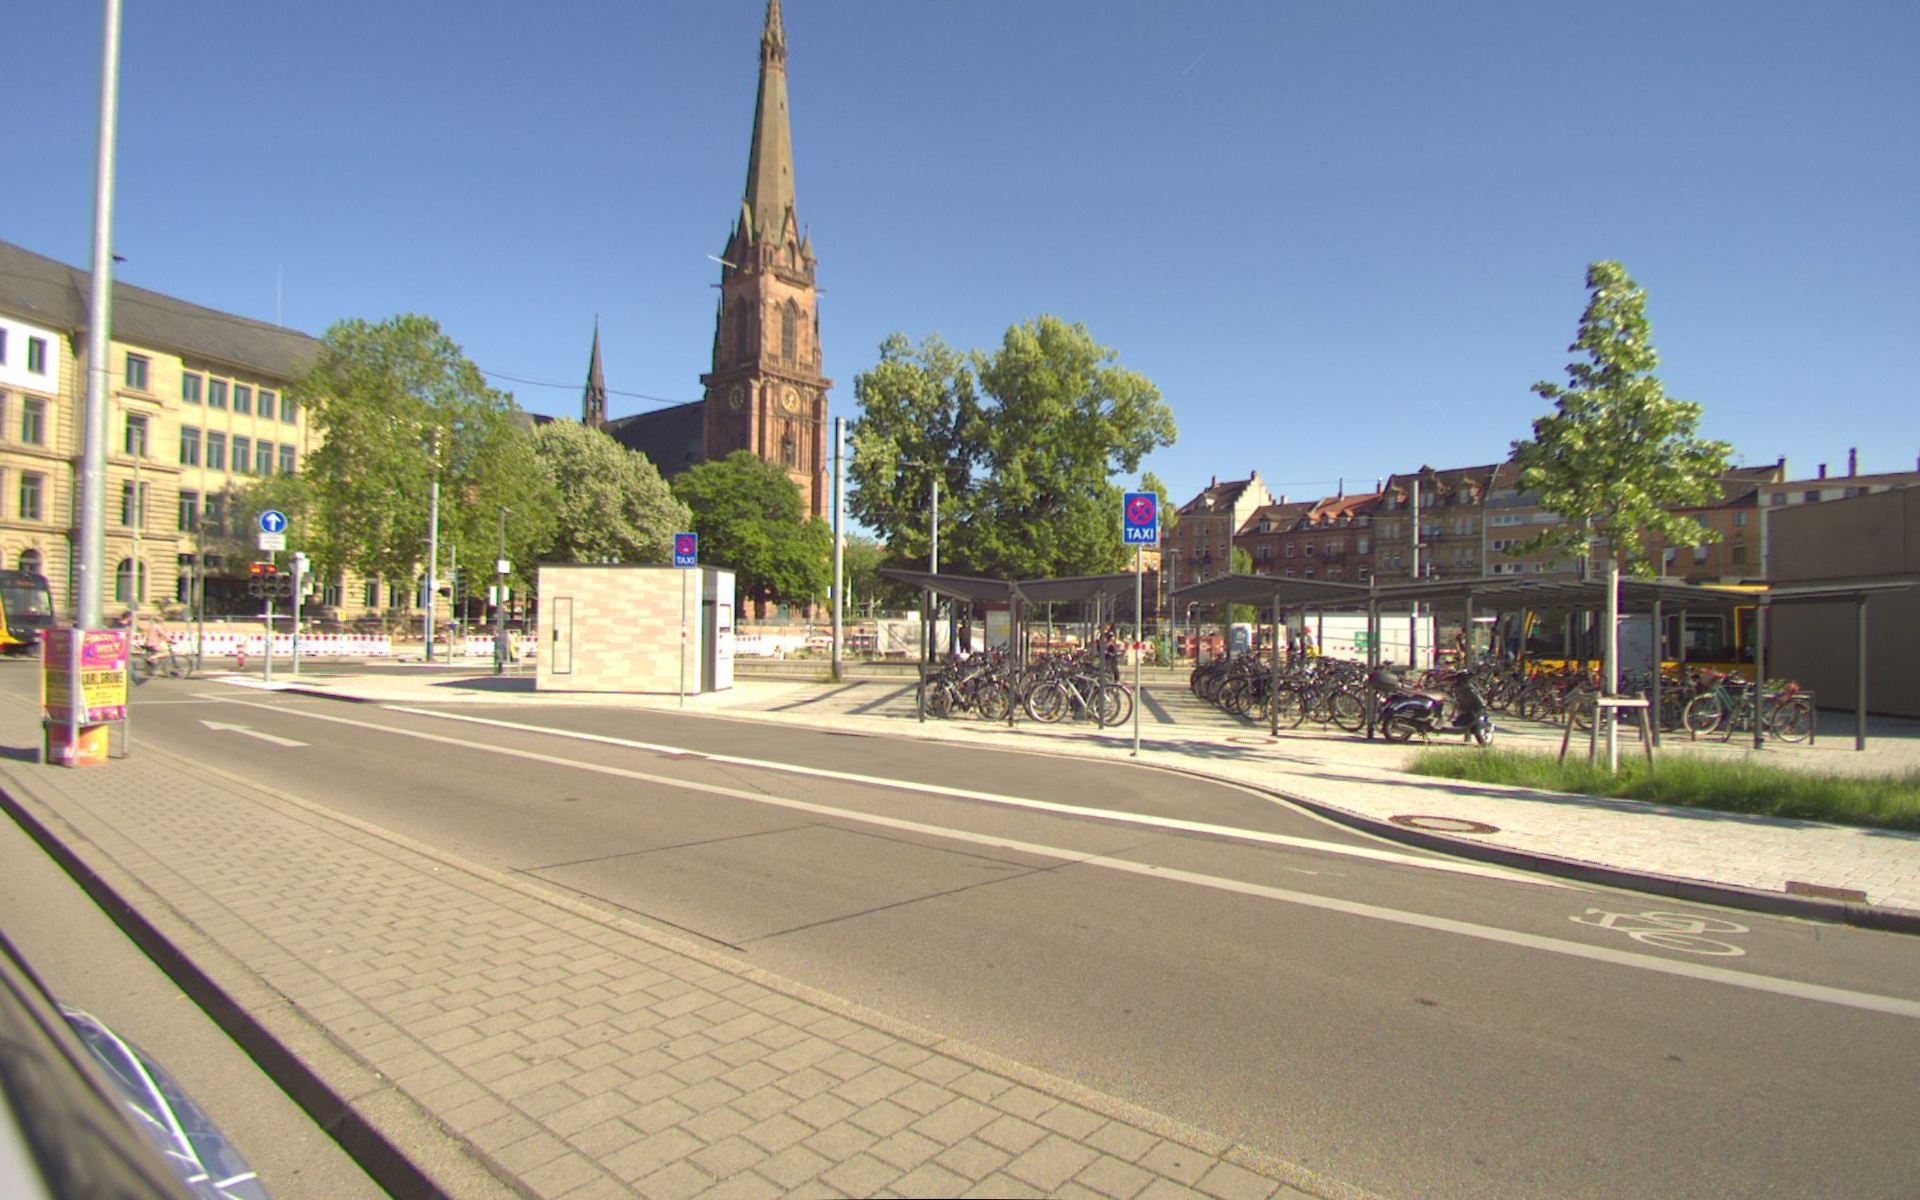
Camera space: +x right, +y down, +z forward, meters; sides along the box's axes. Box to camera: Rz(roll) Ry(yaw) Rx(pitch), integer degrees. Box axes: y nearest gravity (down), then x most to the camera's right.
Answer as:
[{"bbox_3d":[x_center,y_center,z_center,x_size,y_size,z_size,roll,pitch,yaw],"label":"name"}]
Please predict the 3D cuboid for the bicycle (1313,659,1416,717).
[{"bbox_3d":[8.076,1.753,20.261,1.808,1.088,0.627,0,-2,7],"label":"bicycle"}]

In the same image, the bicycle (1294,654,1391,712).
[{"bbox_3d":[8.113,1.752,21.527,1.808,1.170,0.627,0,-2,7],"label":"bicycle"}]

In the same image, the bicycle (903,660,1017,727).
[{"bbox_3d":[0.008,1.589,17.369,1.847,1.015,0.699,2,-2,9],"label":"bicycle"}]

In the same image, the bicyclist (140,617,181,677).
[{"bbox_3d":[-22.071,1.291,27.932,0.722,1.618,0.767,-1,-1,42],"label":"bicyclist"}]

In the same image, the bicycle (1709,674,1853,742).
[{"bbox_3d":[13.022,1.701,16.076,1.803,1.015,0.629,1,-2,-3],"label":"bicycle"}]

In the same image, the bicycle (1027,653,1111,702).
[{"bbox_3d":[2.380,1.693,22.123,1.808,1.015,0.627,0,-2,7],"label":"bicycle"}]

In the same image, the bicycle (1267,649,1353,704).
[{"bbox_3d":[8.238,1.791,23.875,1.808,1.242,0.627,0,-2,7],"label":"bicycle"}]

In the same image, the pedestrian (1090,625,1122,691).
[{"bbox_3d":[3.782,1.494,26.294,0.762,1.672,0.604,0,-2,4],"label":"pedestrian"}]

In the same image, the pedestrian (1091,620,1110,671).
[{"bbox_3d":[5.141,1.661,37.032,0.673,1.869,0.604,0,-2,6],"label":"pedestrian"}]

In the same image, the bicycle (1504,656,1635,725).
[{"bbox_3d":[11.299,1.676,18.801,2.029,1.218,0.505,0,-2,8],"label":"bicycle"}]

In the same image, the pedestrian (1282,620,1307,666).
[{"bbox_3d":[14.928,1.932,45.192,0.861,2.029,0.749,0,-2,5],"label":"pedestrian"}]

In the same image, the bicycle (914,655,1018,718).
[{"bbox_3d":[0.118,1.544,18.237,1.809,1.074,0.627,0,-2,9],"label":"bicycle"}]

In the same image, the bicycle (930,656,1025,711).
[{"bbox_3d":[0.363,1.641,19.985,1.809,1.015,0.627,0,-2,9],"label":"bicycle"}]

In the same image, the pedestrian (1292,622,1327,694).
[{"bbox_3d":[9.263,1.528,26.830,0.595,1.869,0.683,2,-2,-38],"label":"pedestrian"}]

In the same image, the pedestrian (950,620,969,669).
[{"bbox_3d":[-0.016,1.707,39.115,0.673,1.869,0.604,0,-2,5],"label":"pedestrian"}]

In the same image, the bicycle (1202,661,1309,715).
[{"bbox_3d":[5.951,1.767,20.431,1.978,1.015,0.628,0,-2,4],"label":"bicycle"}]

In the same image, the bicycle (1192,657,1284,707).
[{"bbox_3d":[5.972,1.763,21.805,1.805,1.015,0.629,0,-2,0],"label":"bicycle"}]

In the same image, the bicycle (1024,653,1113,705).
[{"bbox_3d":[2.231,1.615,20.848,1.808,1.015,0.627,0,-2,7],"label":"bicycle"}]

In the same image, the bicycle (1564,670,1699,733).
[{"bbox_3d":[11.605,1.748,17.524,1.872,1.004,0.499,0,-2,13],"label":"bicycle"}]

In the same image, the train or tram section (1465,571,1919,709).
[{"bbox_3d":[21.265,1.070,28.634,12.179,3.628,2.748,0,-2,7],"label":"train or tram section"}]

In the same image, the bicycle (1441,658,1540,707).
[{"bbox_3d":[11.692,1.811,22.330,1.809,1.015,0.627,0,-2,9],"label":"bicycle"}]

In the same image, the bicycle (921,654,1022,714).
[{"bbox_3d":[0.215,1.550,18.765,1.809,1.059,0.571,0,-2,9],"label":"bicycle"}]

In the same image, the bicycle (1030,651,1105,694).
[{"bbox_3d":[2.635,1.764,24.809,1.808,1.015,0.627,0,-2,7],"label":"bicycle"}]

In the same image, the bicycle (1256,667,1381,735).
[{"bbox_3d":[5.979,1.682,16.978,1.871,1.050,0.688,0,-2,9],"label":"bicycle"}]

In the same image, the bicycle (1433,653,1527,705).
[{"bbox_3d":[12.003,1.820,23.402,1.809,1.140,0.627,0,-2,9],"label":"bicycle"}]

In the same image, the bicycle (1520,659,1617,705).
[{"bbox_3d":[14.055,1.887,23.405,1.808,1.015,0.627,0,-2,7],"label":"bicycle"}]

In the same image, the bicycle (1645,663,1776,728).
[{"bbox_3d":[13.592,1.722,18.358,1.808,1.101,0.627,0,-2,7],"label":"bicycle"}]

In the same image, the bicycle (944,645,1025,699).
[{"bbox_3d":[0.564,1.653,23.415,1.809,1.188,0.627,0,-2,9],"label":"bicycle"}]

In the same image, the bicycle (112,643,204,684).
[{"bbox_3d":[-22.092,1.751,27.896,0.725,1.078,1.858,-1,-3,42],"label":"bicycle"}]

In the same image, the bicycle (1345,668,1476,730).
[{"bbox_3d":[7.921,1.736,17.876,2.003,1.015,0.627,0,-2,7],"label":"bicycle"}]

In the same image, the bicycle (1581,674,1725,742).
[{"bbox_3d":[11.161,1.728,16.348,1.809,1.015,0.627,0,-2,9],"label":"bicycle"}]

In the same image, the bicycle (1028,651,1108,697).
[{"bbox_3d":[2.513,1.709,23.609,1.808,1.015,0.627,0,-2,7],"label":"bicycle"}]

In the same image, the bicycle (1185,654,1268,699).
[{"bbox_3d":[6.254,1.792,23.798,1.808,1.015,0.627,0,-2,6],"label":"bicycle"}]

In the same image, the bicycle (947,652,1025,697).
[{"bbox_3d":[0.622,1.756,24.114,1.809,1.015,0.627,0,-2,9],"label":"bicycle"}]

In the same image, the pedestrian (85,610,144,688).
[{"bbox_3d":[-20.537,1.190,24.588,0.732,1.864,0.947,-2,-4,45],"label":"pedestrian"}]

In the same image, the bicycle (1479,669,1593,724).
[{"bbox_3d":[11.264,1.879,19.840,1.809,1.015,0.627,0,-2,9],"label":"bicycle"}]

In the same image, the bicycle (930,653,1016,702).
[{"bbox_3d":[0.292,1.697,22.171,1.809,1.015,0.627,0,-2,9],"label":"bicycle"}]

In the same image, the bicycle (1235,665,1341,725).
[{"bbox_3d":[5.855,1.691,18.132,1.731,1.015,0.547,0,-2,10],"label":"bicycle"}]

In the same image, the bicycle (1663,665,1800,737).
[{"bbox_3d":[12.993,1.694,17.063,1.805,1.155,0.629,0,-2,0],"label":"bicycle"}]

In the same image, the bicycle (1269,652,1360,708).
[{"bbox_3d":[7.931,1.773,22.678,1.808,1.198,0.647,0,-2,7],"label":"bicycle"}]

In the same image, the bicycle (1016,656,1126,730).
[{"bbox_3d":[1.867,1.562,17.133,1.808,1.167,0.627,1,-2,7],"label":"bicycle"}]

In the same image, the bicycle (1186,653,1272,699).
[{"bbox_3d":[6.124,1.727,23.110,1.807,1.015,0.628,0,-2,5],"label":"bicycle"}]

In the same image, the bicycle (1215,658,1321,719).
[{"bbox_3d":[5.878,1.688,19.410,1.859,1.101,0.626,0,-2,8],"label":"bicycle"}]

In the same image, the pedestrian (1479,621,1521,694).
[{"bbox_3d":[14.157,1.487,26.528,0.700,1.869,0.751,2,-2,-38],"label":"pedestrian"}]

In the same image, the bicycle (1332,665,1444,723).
[{"bbox_3d":[8.002,1.755,18.970,1.808,1.015,0.627,0,-2,7],"label":"bicycle"}]

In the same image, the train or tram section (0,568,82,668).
[{"bbox_3d":[-40.547,0.656,38.766,12.174,3.628,2.828,0,-2,6],"label":"train or tram section"}]

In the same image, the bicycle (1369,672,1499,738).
[{"bbox_3d":[7.769,1.710,16.650,1.808,1.015,0.627,0,-2,7],"label":"bicycle"}]

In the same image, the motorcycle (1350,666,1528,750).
[{"bbox_3d":[7.170,1.610,15.233,2.333,1.167,0.610,0,-2,7],"label":"motorcycle"}]

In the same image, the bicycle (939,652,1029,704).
[{"bbox_3d":[0.515,1.621,21.140,1.809,1.015,0.627,0,-2,9],"label":"bicycle"}]

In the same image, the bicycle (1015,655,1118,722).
[{"bbox_3d":[1.911,1.583,18.276,1.808,1.157,0.627,0,-2,7],"label":"bicycle"}]

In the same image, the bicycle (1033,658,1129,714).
[{"bbox_3d":[2.323,1.641,19.541,1.808,1.015,0.745,0,-2,7],"label":"bicycle"}]

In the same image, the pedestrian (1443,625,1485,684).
[{"bbox_3d":[17.668,1.909,35.508,0.997,2.029,0.872,0,-2,0],"label":"pedestrian"}]
